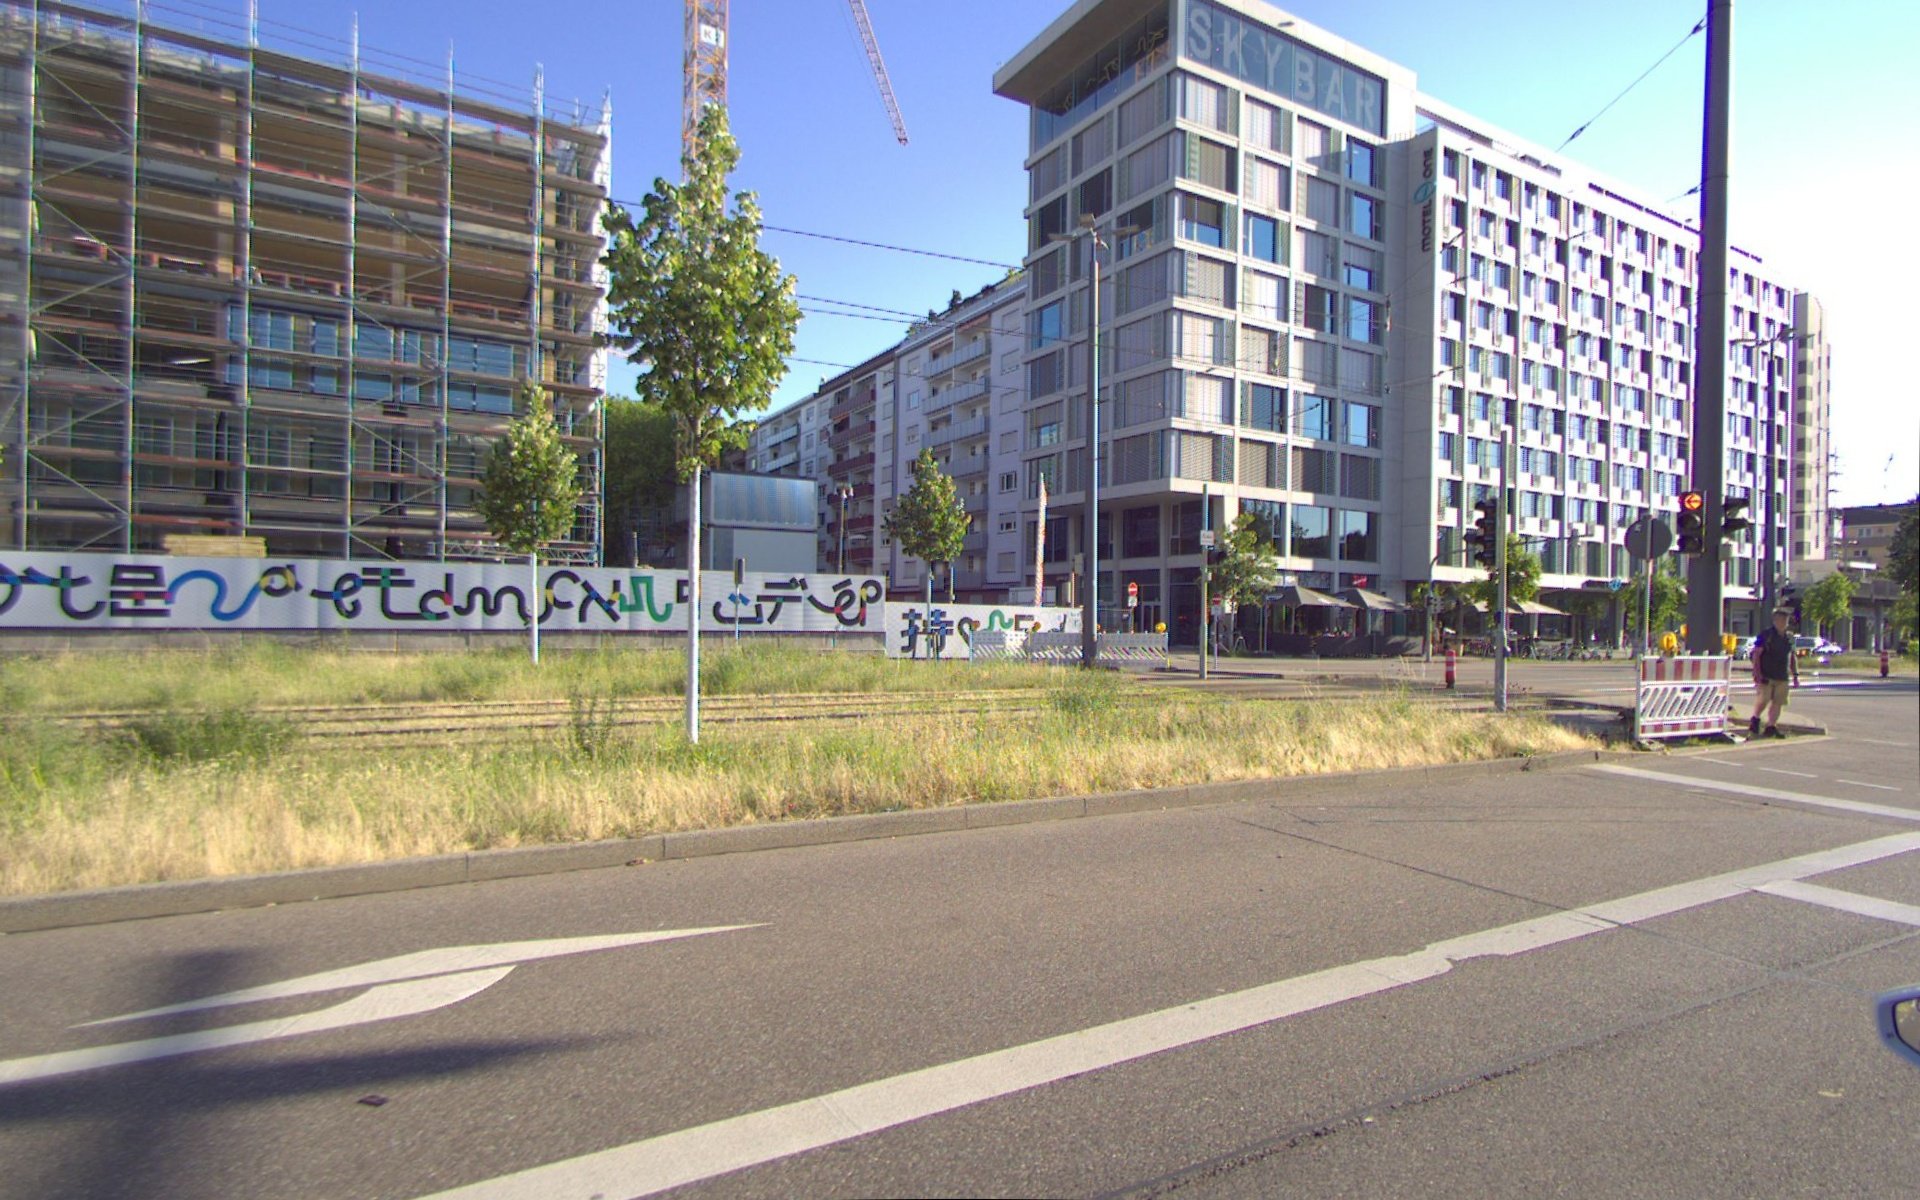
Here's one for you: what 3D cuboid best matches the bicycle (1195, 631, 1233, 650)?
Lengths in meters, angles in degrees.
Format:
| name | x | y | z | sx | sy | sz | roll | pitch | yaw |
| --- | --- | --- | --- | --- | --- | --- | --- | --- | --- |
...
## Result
| name | x | y | z | sx | sy | sz | roll | pitch | yaw |
| --- | --- | --- | --- | --- | --- | --- | --- | --- | --- |
| bicycle | 13.421 | 2.140 | 53.083 | 2.191 | 0.948 | 0.615 | 2 | -1 | -32 |

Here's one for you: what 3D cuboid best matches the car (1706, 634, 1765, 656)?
| name | x | y | z | sx | sy | sz | roll | pitch | yaw |
| --- | --- | --- | --- | --- | --- | --- | --- | --- | --- |
| car | 51.712 | 2.974 | 66.970 | 3.954 | 1.346 | 1.748 | 2 | 0 | -31 |

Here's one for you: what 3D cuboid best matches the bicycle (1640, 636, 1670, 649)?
| name | x | y | z | sx | sy | sz | roll | pitch | yaw |
| --- | --- | --- | --- | --- | --- | --- | --- | --- | --- |
| bicycle | 52.773 | 3.253 | 76.265 | 0.507 | 0.917 | 1.791 | 1 | -1 | -36 |

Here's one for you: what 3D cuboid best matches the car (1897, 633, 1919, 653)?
| name | x | y | z | sx | sy | sz | roll | pitch | yaw |
| --- | --- | --- | --- | --- | --- | --- | --- | --- | --- |
| car | 84.641 | 3.808 | 87.454 | 4.015 | 1.622 | 1.750 | 3 | 2 | 19 |

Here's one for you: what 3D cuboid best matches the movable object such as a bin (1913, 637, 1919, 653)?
| name | x | y | z | sx | sy | sz | roll | pitch | yaw |
| --- | --- | --- | --- | --- | --- | --- | --- | --- | --- |
| movable object such as a bin | 80.638 | 3.783 | 84.118 | 0.924 | 1.297 | 0.858 | 1 | -1 | -16 |

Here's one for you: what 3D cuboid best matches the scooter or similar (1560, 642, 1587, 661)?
| name | x | y | z | sx | sy | sz | roll | pitch | yaw |
| --- | --- | --- | --- | --- | --- | --- | --- | --- | --- |
| scooter or similar | 34.705 | 2.889 | 56.824 | 0.430 | 1.033 | 1.238 | 1 | -1 | -29 |

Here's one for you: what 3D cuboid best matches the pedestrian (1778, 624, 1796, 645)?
| name | x | y | z | sx | sy | sz | roll | pitch | yaw |
| --- | --- | --- | --- | --- | --- | --- | --- | --- | --- |
| pedestrian | 68.483 | 2.863 | 83.184 | 0.958 | 1.675 | 0.840 | 1 | -1 | -29 |

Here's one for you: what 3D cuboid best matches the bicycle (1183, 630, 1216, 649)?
| name | x | y | z | sx | sy | sz | roll | pitch | yaw |
| --- | --- | --- | --- | --- | --- | --- | --- | --- | --- |
| bicycle | 12.849 | 2.121 | 53.837 | 1.879 | 0.948 | 0.532 | 2 | -1 | -32 |

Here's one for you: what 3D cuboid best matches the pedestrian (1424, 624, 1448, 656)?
| name | x | y | z | sx | sy | sz | roll | pitch | yaw |
| --- | --- | --- | --- | --- | --- | --- | --- | --- | --- |
| pedestrian | 26.501 | 2.218 | 55.898 | 0.792 | 1.744 | 0.868 | 1 | -1 | -21 |

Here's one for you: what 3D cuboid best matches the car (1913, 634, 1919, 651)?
| name | x | y | z | sx | sy | sz | roll | pitch | yaw |
| --- | --- | --- | --- | --- | --- | --- | --- | --- | --- |
| car | 87.622 | 3.912 | 89.439 | 3.554 | 1.543 | 1.621 | 3 | 1 | 19 |

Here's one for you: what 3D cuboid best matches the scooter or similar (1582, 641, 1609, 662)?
| name | x | y | z | sx | sy | sz | roll | pitch | yaw |
| --- | --- | --- | --- | --- | --- | --- | --- | --- | --- |
| scooter or similar | 36.476 | 2.961 | 57.672 | 0.401 | 1.187 | 1.238 | 1 | -1 | -29 |

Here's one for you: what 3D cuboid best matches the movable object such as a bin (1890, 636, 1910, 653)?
| name | x | y | z | sx | sy | sz | roll | pitch | yaw |
| --- | --- | --- | --- | --- | --- | --- | --- | --- | --- |
| movable object such as a bin | 79.680 | 3.751 | 85.151 | 0.924 | 1.376 | 0.858 | 1 | -1 | -16 |

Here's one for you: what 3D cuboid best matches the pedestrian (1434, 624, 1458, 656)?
| name | x | y | z | sx | sy | sz | roll | pitch | yaw |
| --- | --- | --- | --- | --- | --- | --- | --- | --- | --- |
| pedestrian | 27.210 | 2.238 | 56.239 | 0.792 | 1.744 | 0.868 | 1 | -1 | -21 |

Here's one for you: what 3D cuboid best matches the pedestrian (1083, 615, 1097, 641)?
| name | x | y | z | sx | sy | sz | roll | pitch | yaw |
| --- | --- | --- | --- | --- | --- | --- | --- | --- | --- |
| pedestrian | 7.631 | 1.643 | 59.155 | 0.571 | 1.518 | 0.582 | 1 | -1 | -33 |

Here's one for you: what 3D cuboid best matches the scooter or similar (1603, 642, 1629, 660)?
| name | x | y | z | sx | sy | sz | roll | pitch | yaw |
| --- | --- | --- | --- | --- | --- | --- | --- | --- | --- |
| scooter or similar | 38.583 | 2.995 | 59.086 | 0.430 | 1.033 | 1.238 | 1 | -1 | -29 |

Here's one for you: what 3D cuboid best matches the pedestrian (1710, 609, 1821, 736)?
| name | x | y | z | sx | sy | sz | roll | pitch | yaw |
| --- | --- | --- | --- | --- | --- | --- | --- | --- | --- |
| pedestrian | 10.986 | 0.963 | 13.732 | 0.751 | 1.671 | 0.926 | 1 | -1 | -5 |

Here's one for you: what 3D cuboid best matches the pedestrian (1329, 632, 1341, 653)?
| name | x | y | z | sx | sy | sz | roll | pitch | yaw |
| --- | --- | --- | --- | --- | --- | --- | --- | --- | --- |
| pedestrian | 21.791 | 2.475 | 58.334 | 0.491 | 1.238 | 0.429 | 1 | -1 | -30 |

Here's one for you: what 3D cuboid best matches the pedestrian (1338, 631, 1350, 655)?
| name | x | y | z | sx | sy | sz | roll | pitch | yaw |
| --- | --- | --- | --- | --- | --- | --- | --- | --- | --- |
| pedestrian | 19.945 | 2.225 | 52.169 | 0.428 | 1.209 | 0.361 | 1 | -1 | -34 |

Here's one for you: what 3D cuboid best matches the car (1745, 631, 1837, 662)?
| name | x | y | z | sx | sy | sz | roll | pitch | yaw |
| --- | --- | --- | --- | --- | --- | --- | --- | --- | --- |
| car | 38.980 | 2.150 | 47.103 | 4.796 | 1.361 | 1.881 | 1 | -1 | -32 |

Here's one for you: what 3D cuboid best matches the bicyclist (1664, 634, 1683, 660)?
| name | x | y | z | sx | sy | sz | roll | pitch | yaw |
| --- | --- | --- | --- | --- | --- | --- | --- | --- | --- |
| bicyclist | 41.097 | 2.723 | 57.849 | 0.841 | 1.484 | 0.622 | 1 | -1 | -30 |

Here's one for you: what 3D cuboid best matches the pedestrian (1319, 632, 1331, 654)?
| name | x | y | z | sx | sy | sz | roll | pitch | yaw |
| --- | --- | --- | --- | --- | --- | --- | --- | --- | --- |
| pedestrian | 21.016 | 2.454 | 57.883 | 0.491 | 1.238 | 0.429 | 1 | -1 | -30 |

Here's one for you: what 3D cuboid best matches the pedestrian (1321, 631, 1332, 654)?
| name | x | y | z | sx | sy | sz | roll | pitch | yaw |
| --- | --- | --- | --- | --- | --- | --- | --- | --- | --- |
| pedestrian | 18.996 | 2.198 | 52.099 | 0.428 | 1.209 | 0.361 | 1 | -1 | -34 |

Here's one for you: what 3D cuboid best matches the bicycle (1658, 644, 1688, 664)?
| name | x | y | z | sx | sy | sz | roll | pitch | yaw |
| --- | --- | --- | --- | --- | --- | --- | --- | --- | --- |
| bicycle | 41.069 | 3.104 | 57.848 | 2.053 | 1.081 | 0.622 | 2 | -1 | -30 |
